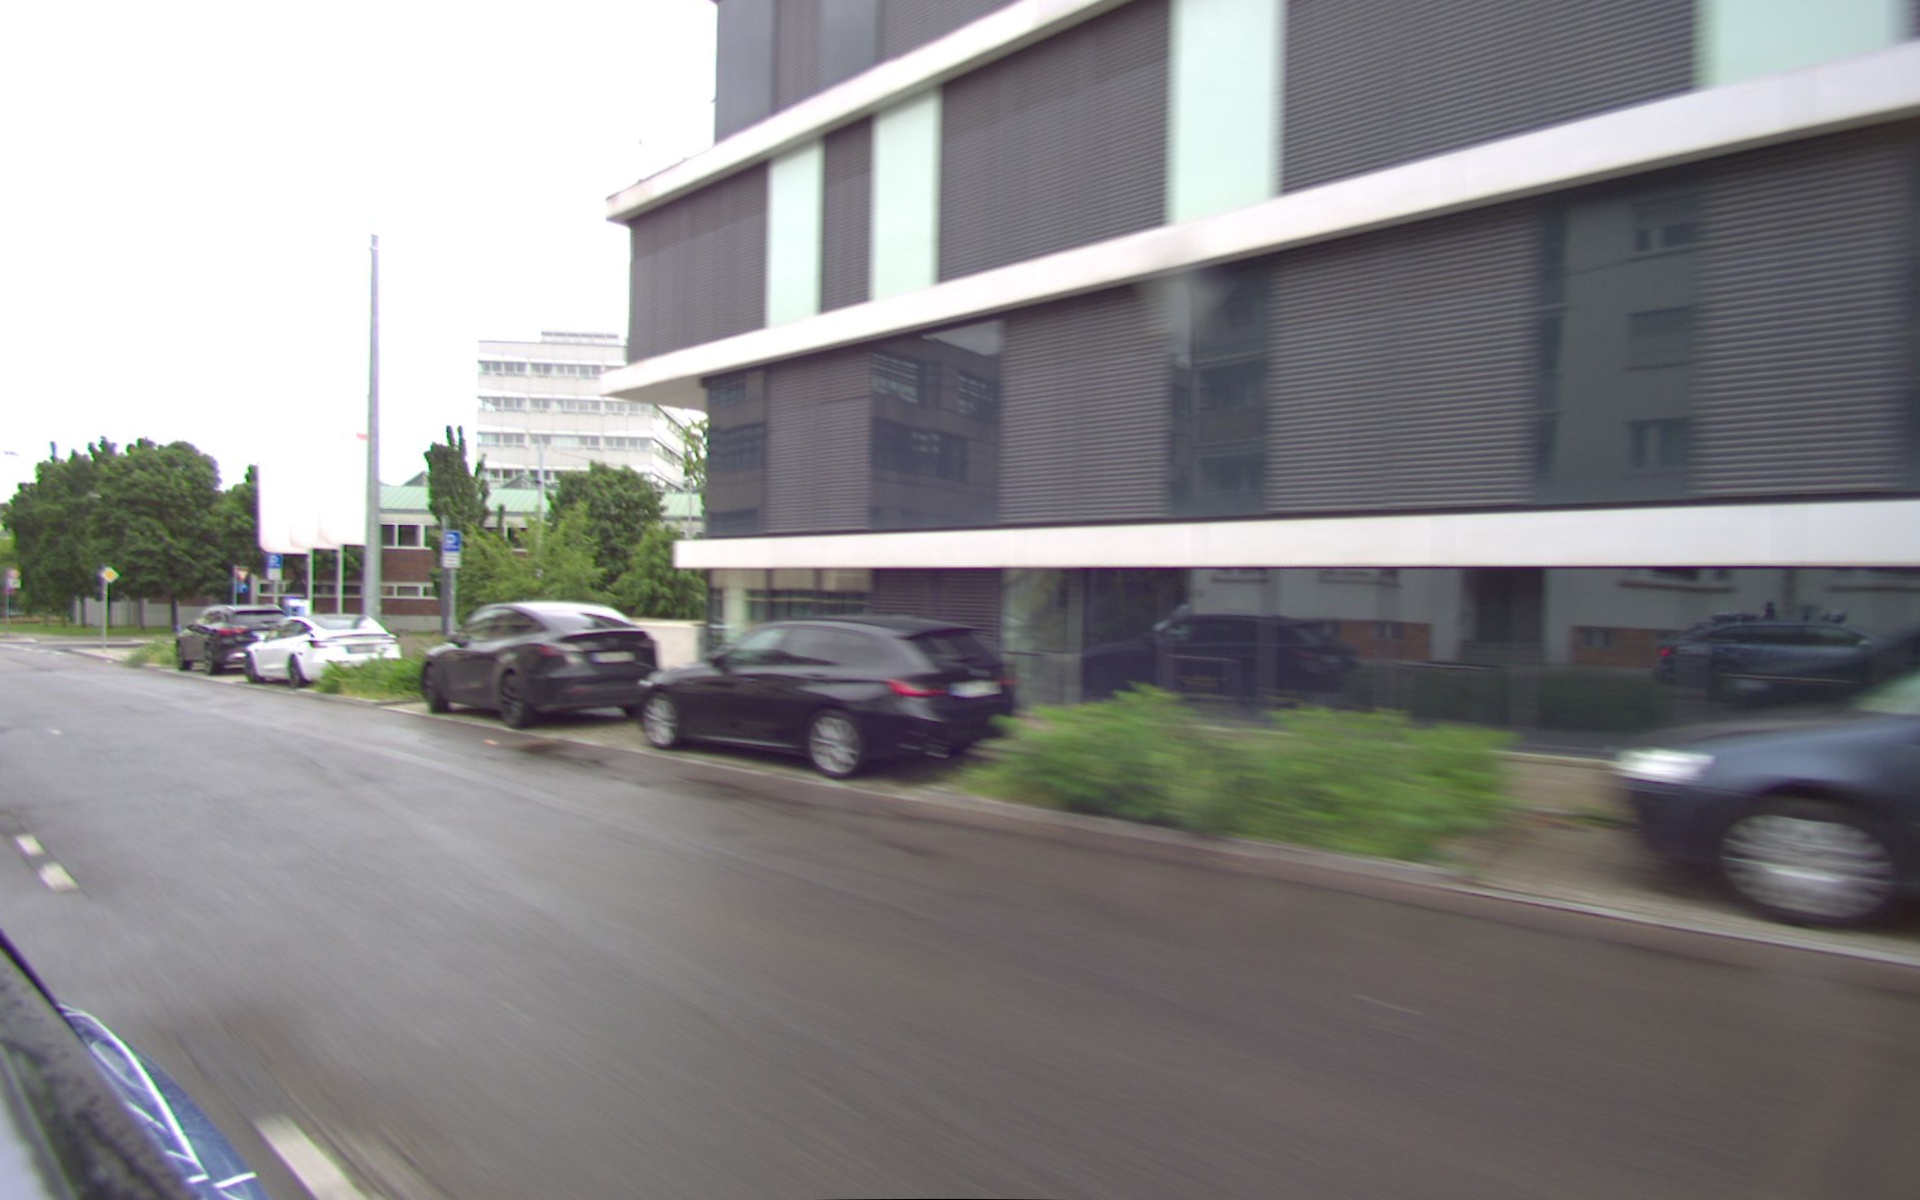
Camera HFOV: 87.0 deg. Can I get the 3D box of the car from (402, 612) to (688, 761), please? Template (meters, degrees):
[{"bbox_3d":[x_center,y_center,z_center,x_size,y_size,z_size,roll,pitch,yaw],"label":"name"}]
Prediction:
[{"bbox_3d":[-6.093,1.081,14.508,4.942,1.763,1.941,-1,-1,43],"label":"car"}]

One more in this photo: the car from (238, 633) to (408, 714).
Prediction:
[{"bbox_3d":[-13.273,1.442,20.983,4.400,1.429,1.802,-1,-1,41],"label":"car"}]

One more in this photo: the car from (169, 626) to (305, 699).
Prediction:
[{"bbox_3d":[-18.232,1.491,25.446,4.489,1.630,1.830,-1,-1,41],"label":"car"}]

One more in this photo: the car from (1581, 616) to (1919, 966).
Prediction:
[{"bbox_3d":[5.481,0.822,4.523,4.344,1.500,1.843,-2,-1,41],"label":"car"}]

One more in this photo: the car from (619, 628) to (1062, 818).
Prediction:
[{"bbox_3d":[-1.421,1.055,10.441,4.738,1.484,1.852,-1,-1,41],"label":"car"}]
